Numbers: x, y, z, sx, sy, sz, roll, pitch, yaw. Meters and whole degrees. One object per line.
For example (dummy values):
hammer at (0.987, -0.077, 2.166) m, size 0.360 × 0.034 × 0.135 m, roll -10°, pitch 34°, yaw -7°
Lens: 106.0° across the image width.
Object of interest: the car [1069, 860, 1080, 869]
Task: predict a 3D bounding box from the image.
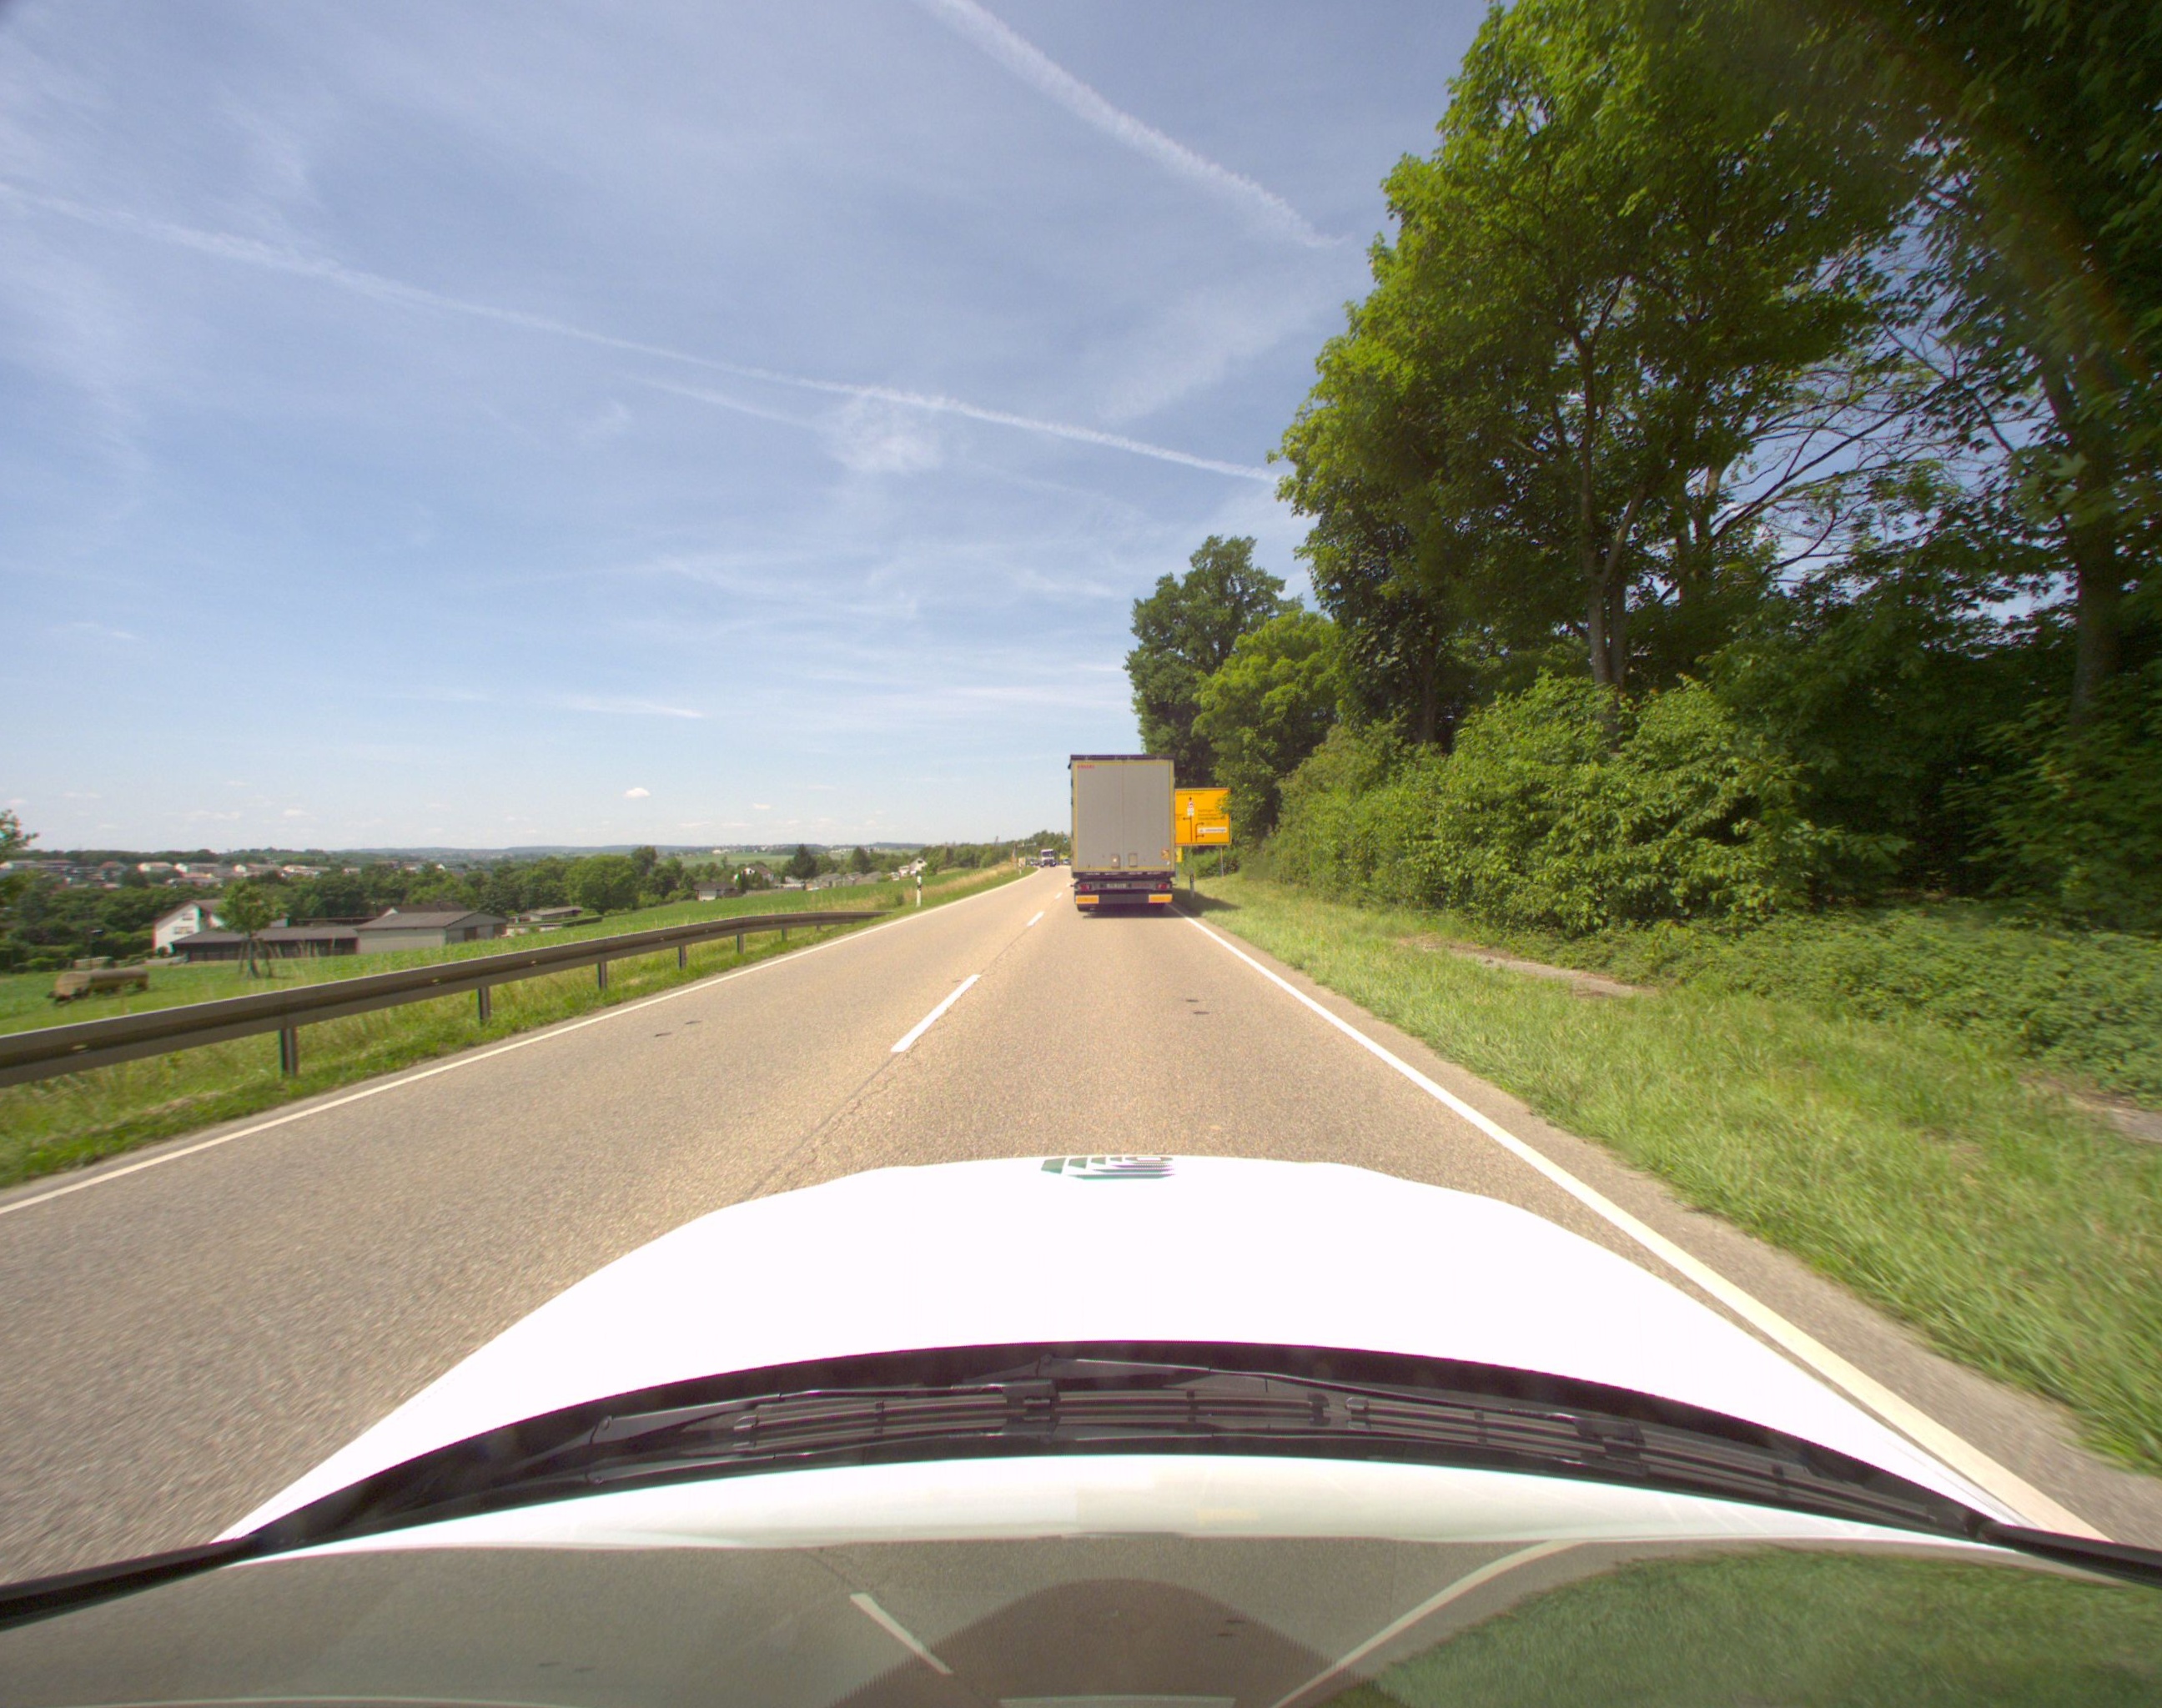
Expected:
car at (-1.438, 2.357, 185.517) m, size 2.167 × 2.013 × 4.520 m, roll -4°, pitch 0°, yaw -4°

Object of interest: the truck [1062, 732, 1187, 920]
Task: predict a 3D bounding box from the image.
truck at (1.003, -0.661, 23.771) m, size 2.898 × 4.410 × 8.857 m, roll -1°, pitch 0°, yaw -1°

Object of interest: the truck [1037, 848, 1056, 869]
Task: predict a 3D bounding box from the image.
truck at (-6.400, 0.859, 149.421) m, size 2.752 × 3.576 × 11.044 m, roll -4°, pitch -1°, yaw -5°

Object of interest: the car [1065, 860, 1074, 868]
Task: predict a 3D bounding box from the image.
car at (-2.808, 2.498, 200.176) m, size 1.888 × 1.777 × 4.380 m, roll -4°, pitch 0°, yaw -4°
